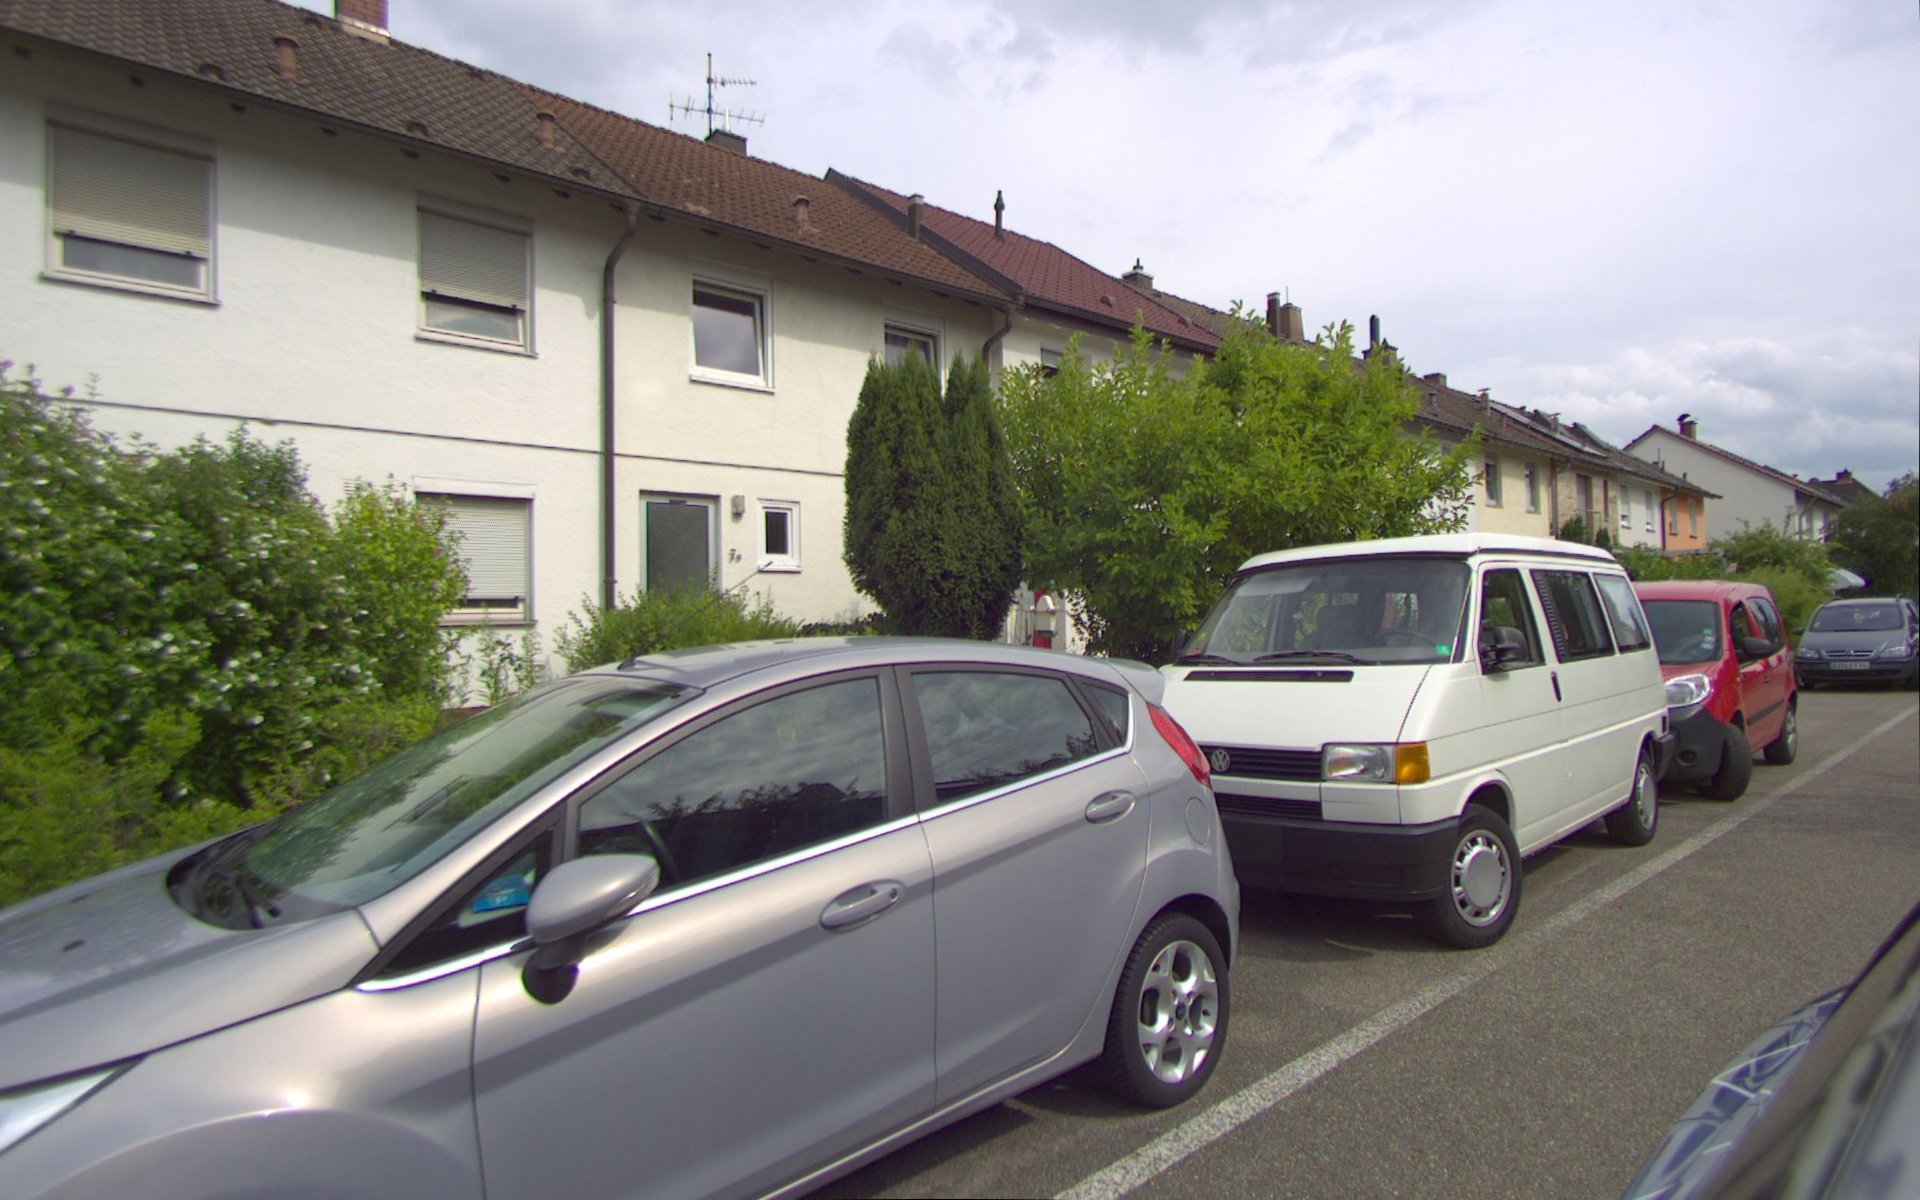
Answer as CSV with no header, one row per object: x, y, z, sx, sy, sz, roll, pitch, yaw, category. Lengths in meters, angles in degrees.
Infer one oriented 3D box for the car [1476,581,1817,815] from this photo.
6.550,0.712,9.446,4.338,1.672,1.811,0,-1,-45,car

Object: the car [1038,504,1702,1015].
2.809,0.622,6.265,4.667,1.972,2.022,0,-1,-43,car

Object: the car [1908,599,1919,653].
27.548,0.664,27.943,4.057,1.446,1.734,0,-2,-43,car

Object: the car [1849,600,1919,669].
21.687,0.730,22.905,4.687,1.425,1.868,0,-3,-43,car

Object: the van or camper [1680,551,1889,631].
31.724,-0.293,39.146,2.490,2.854,5.814,0,-1,-37,van or camper

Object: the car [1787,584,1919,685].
16.922,0.585,18.743,4.389,1.675,1.869,0,-2,-43,car

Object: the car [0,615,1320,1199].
-0.919,0.812,2.906,4.056,1.478,1.904,0,-1,-40,car
